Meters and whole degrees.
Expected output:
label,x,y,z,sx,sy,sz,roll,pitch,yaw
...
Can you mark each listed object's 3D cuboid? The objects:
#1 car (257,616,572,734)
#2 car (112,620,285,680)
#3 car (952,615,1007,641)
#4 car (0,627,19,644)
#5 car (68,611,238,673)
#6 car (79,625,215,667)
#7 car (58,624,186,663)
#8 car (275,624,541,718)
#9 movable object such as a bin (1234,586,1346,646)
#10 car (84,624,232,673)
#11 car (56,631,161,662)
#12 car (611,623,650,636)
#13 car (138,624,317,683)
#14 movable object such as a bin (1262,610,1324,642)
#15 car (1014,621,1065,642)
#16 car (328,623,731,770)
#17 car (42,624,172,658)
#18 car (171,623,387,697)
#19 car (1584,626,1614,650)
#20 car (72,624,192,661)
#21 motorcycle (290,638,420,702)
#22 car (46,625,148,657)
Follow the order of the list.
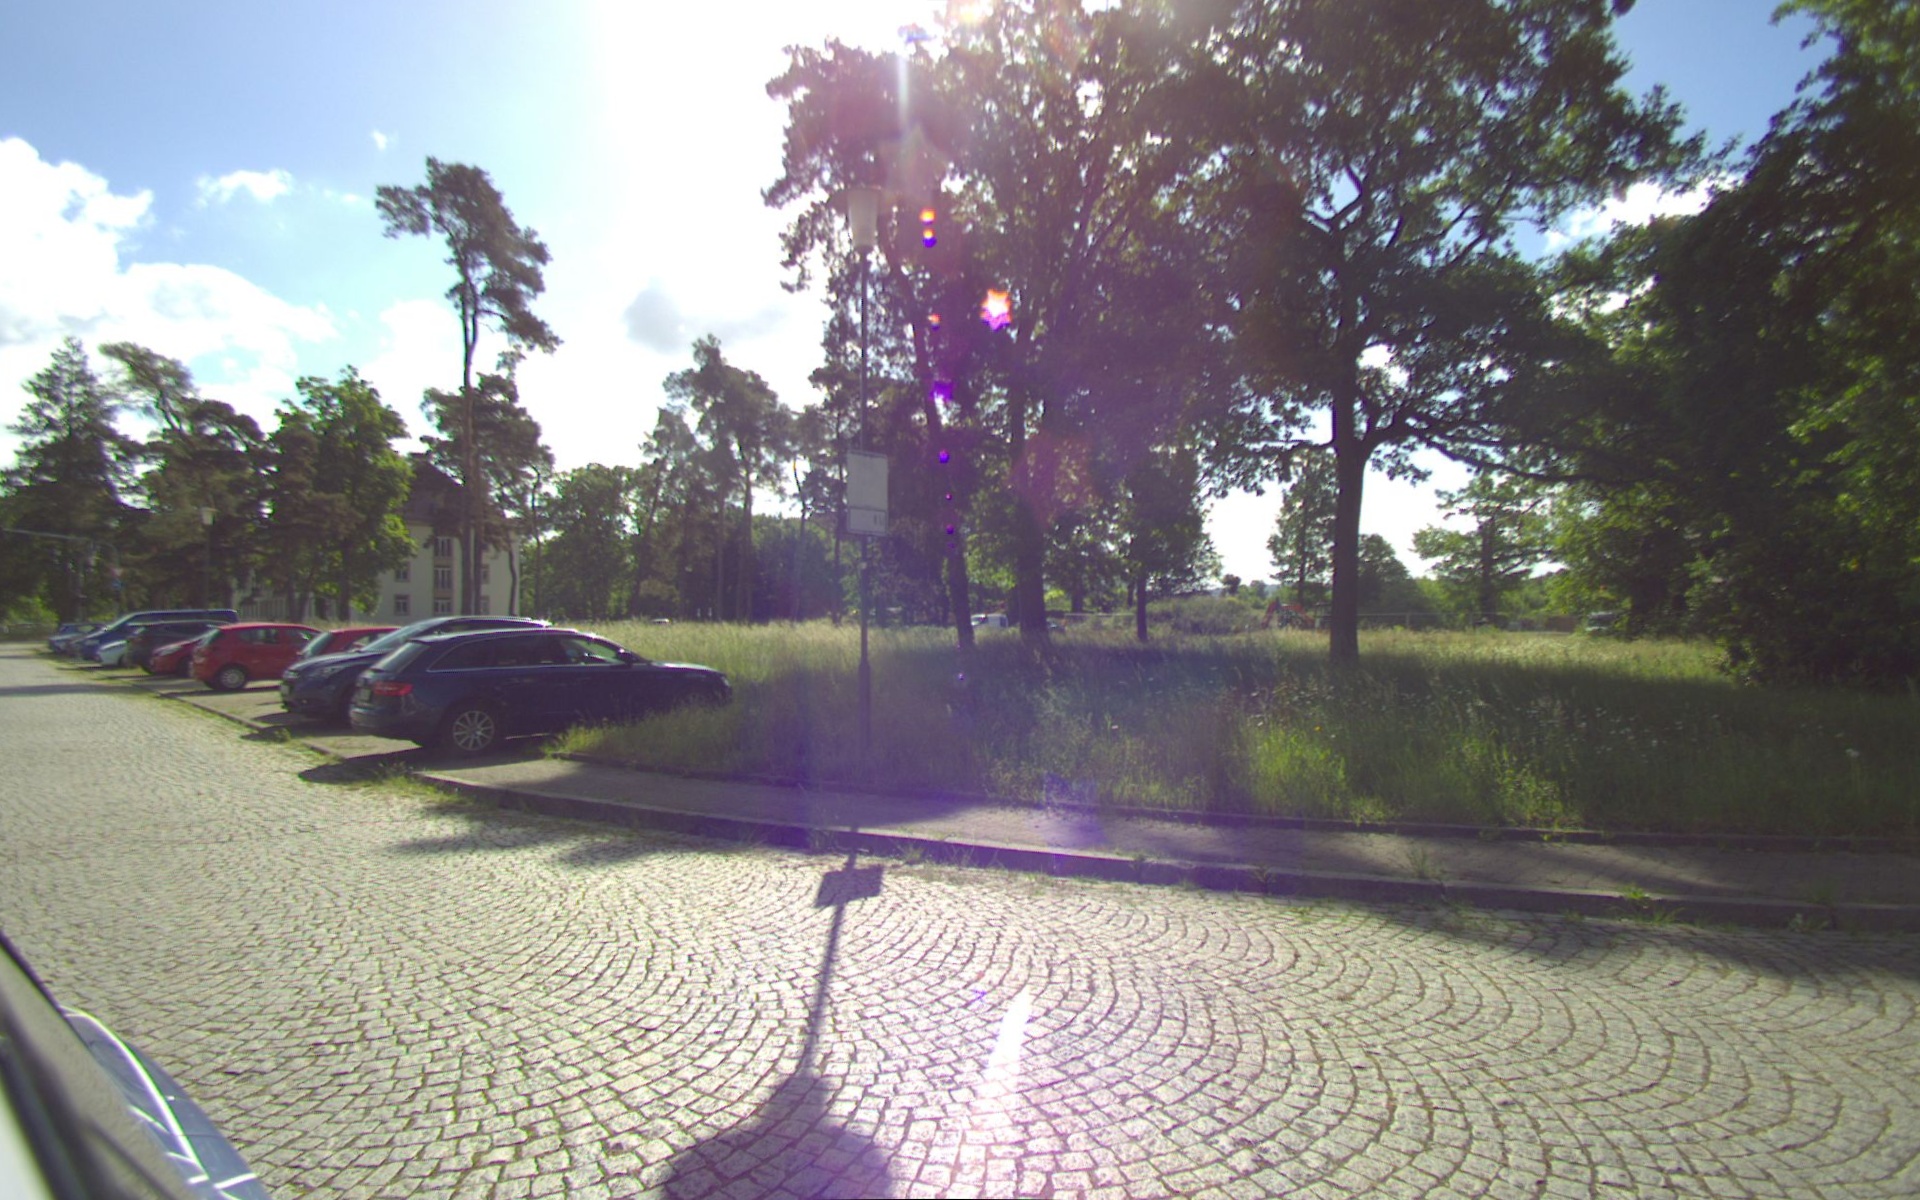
label,x,y,z,sx,sy,sz,roll,pitch,yaw
car,-8.608,1.088,16.195,1.885,1.591,4.088,-2,-1,45
car,-23.132,1.473,30.828,1.974,1.579,3.910,-3,-1,43
car,1.742,2.374,87.282,4.789,2.180,1.958,1,-2,-44
car,-93.127,3.409,97.027,1.815,1.534,3.995,-1,-2,36
car,-29.480,1.477,37.070,2.006,1.983,4.664,-1,0,44
car,-32.980,1.816,41.115,1.824,1.486,4.149,-2,-1,44
car,-35.394,1.809,42.774,4.029,1.436,1.924,-1,-1,-44
car,-9.898,1.193,18.301,3.877,1.444,1.843,0,-1,-44
movable object such as a bin,21.592,1.077,66.176,6.743,3.759,3.903,0,-2,21
car,-27.783,1.634,35.132,1.682,1.451,3.775,-1,0,42
car,-39.298,2.119,46.725,3.588,1.243,1.761,-1,1,-44
car,-39.426,3.523,121.214,4.047,1.593,1.721,1,-2,-44
car,-20.995,1.487,29.101,1.867,1.460,3.880,-2,-1,43
movable object such as a bin,23.472,1.851,71.558,2.493,2.142,5.678,0,-1,0
car,6.520,2.559,82.808,4.179,1.617,1.914,1,-2,-44
car,-5.301,1.070,12.811,4.307,1.456,1.923,0,-1,-43
car,-42.327,1.993,50.289,1.939,1.431,4.809,0,1,45
car,-15.775,1.326,23.571,1.842,1.472,3.880,-2,-1,43
car,51.313,3.054,81.298,1.989,1.868,4.092,-1,-2,32
car,-36.989,1.865,45.269,4.029,1.463,1.823,-1,0,-44
motorcycle,-12.322,1.402,20.673,2.216,1.170,0.577,0,-1,-44
car,-46.087,2.168,54.081,1.949,1.494,3.983,-2,-1,43
